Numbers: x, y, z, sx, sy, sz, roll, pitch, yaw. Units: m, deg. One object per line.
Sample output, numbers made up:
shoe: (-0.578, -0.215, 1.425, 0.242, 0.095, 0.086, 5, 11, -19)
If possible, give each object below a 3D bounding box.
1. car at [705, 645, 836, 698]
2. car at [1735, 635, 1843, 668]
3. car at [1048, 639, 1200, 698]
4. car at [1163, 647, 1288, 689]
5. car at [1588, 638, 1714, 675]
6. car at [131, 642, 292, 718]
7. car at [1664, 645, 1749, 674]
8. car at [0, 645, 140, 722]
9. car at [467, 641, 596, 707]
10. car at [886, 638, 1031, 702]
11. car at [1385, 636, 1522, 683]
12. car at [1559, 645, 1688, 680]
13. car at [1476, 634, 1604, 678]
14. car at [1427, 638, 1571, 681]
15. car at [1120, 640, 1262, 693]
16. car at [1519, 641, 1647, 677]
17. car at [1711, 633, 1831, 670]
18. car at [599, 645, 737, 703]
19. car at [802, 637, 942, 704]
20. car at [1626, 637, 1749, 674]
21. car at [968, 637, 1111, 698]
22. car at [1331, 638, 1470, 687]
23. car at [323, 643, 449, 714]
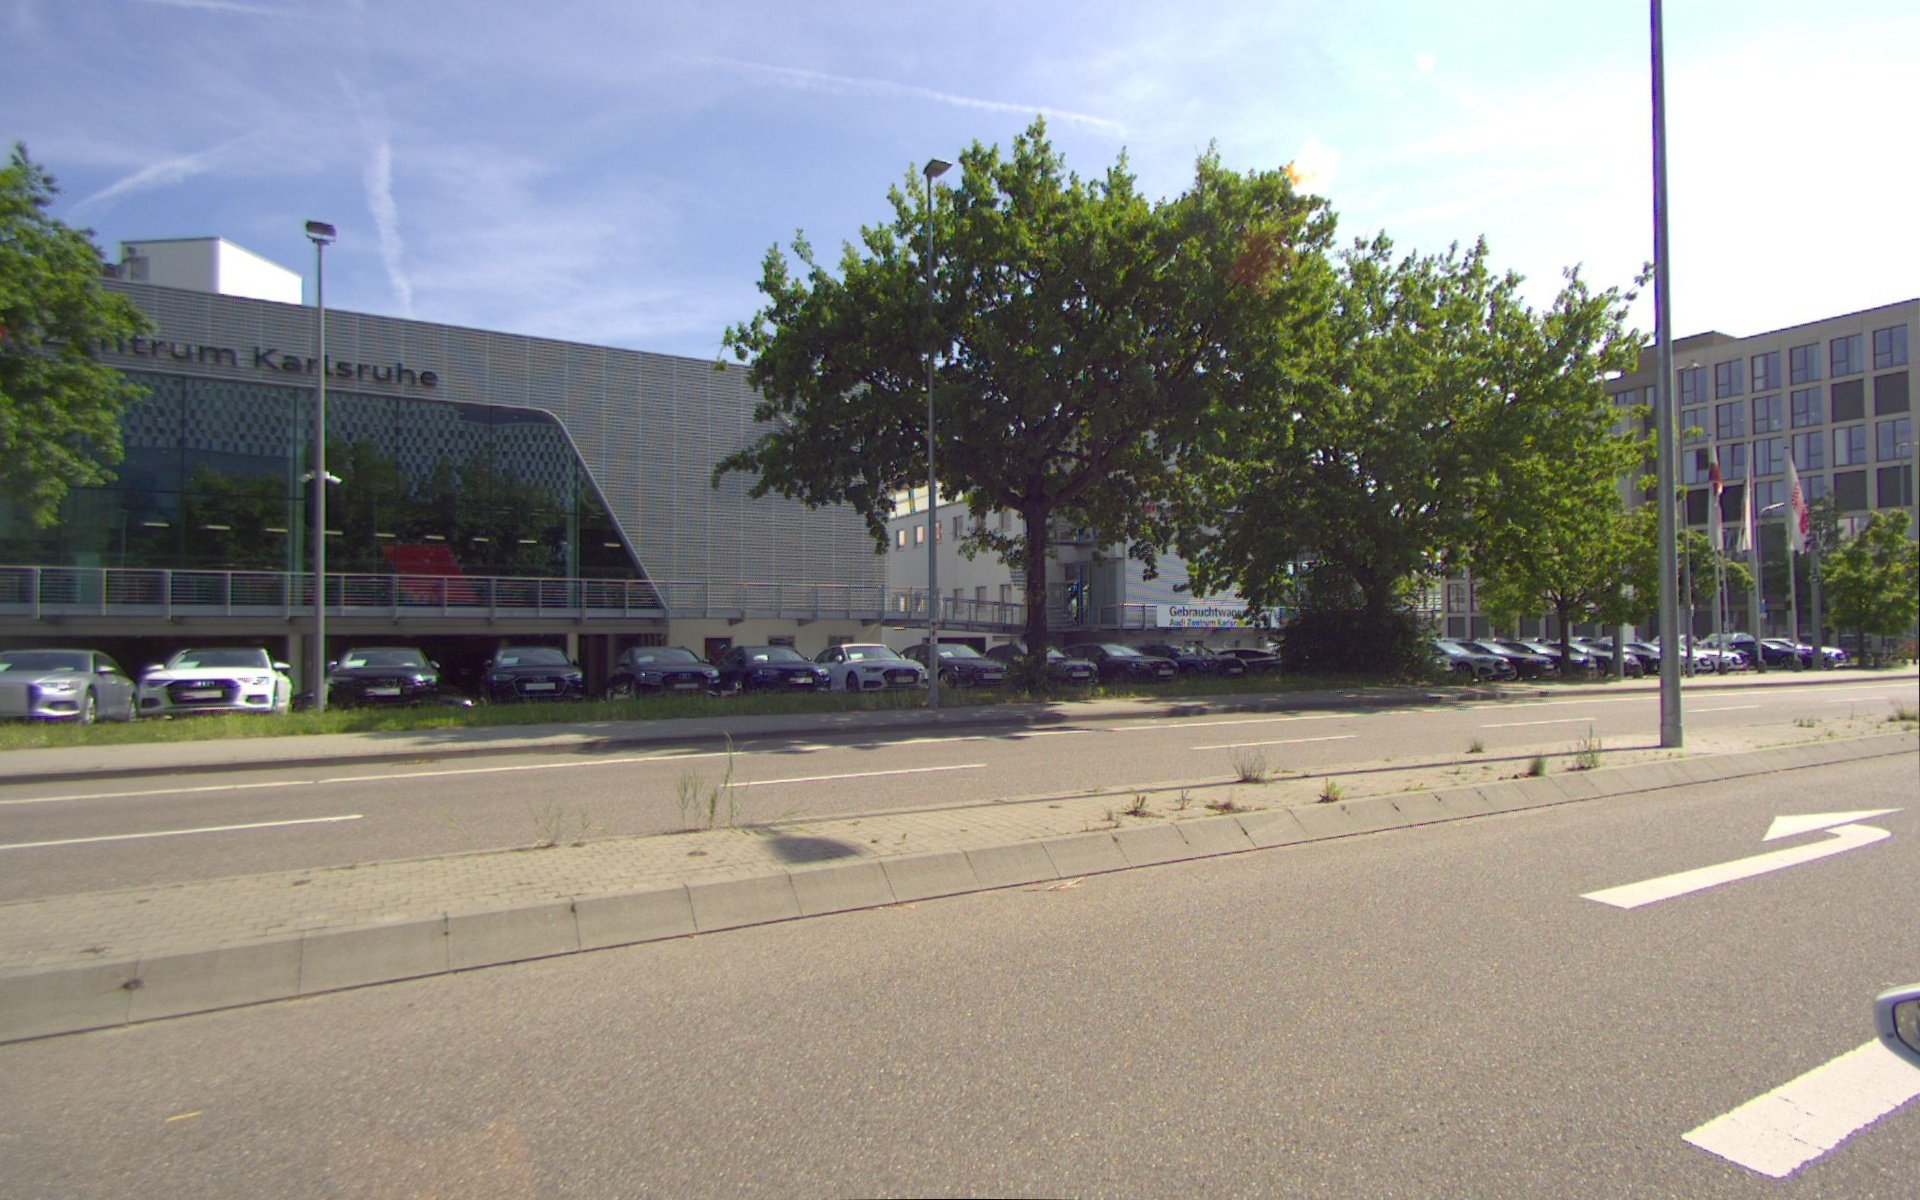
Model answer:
car: (-4.484, 1.694, 23.252, 1.678, 1.047, 4.089, 1, -6, -31)
car: (39.479, 2.467, 47.916, 1.620, 1.375, 3.581, 0, -5, -28)
car: (4.583, 1.998, 28.737, 2.027, 1.460, 4.288, 1, -6, -29)
car: (9.275, 2.388, 35.185, 3.930, 1.272, 1.588, -5, -5, 29)
car: (28.630, 2.378, 41.717, 1.824, 1.350, 3.864, 0, -5, -26)
car: (-13.544, 1.502, 18.419, 1.933, 1.205, 4.155, 1, -6, -31)
car: (34.045, 2.719, 45.807, 3.387, 1.189, 1.850, 0, -5, -29)
car: (-15.766, 1.475, 17.194, 2.063, 1.171, 4.155, 1, -6, -31)
car: (-8.993, 1.579, 20.890, 1.933, 1.205, 4.155, 1, -6, -31)
car: (-0.133, 1.866, 26.056, 1.975, 1.460, 4.233, 1, -6, -28)
car: (16.954, 2.083, 34.725, 1.886, 1.437, 3.864, 0, -5, -26)
car: (26.541, 2.528, 40.311, 1.886, 1.181, 3.864, 0, -5, -26)
car: (21.676, 2.116, 37.715, 1.637, 1.437, 3.864, 0, -5, -26)
car: (19.445, 2.200, 36.438, 2.010, 1.348, 4.156, 0, -5, -26)
car: (6.785, 2.002, 29.893, 1.975, 1.376, 3.973, 1, -6, -28)
car: (24.127, 2.312, 39.031, 1.771, 1.167, 3.864, 0, -5, -26)
car: (37.707, 2.417, 46.805, 1.844, 1.483, 3.862, 0, -5, -27)
car: (-6.517, 1.662, 22.089, 1.933, 1.091, 4.155, 1, -6, -31)
car: (-2.246, 1.764, 24.536, 1.975, 1.460, 3.973, 1, -6, -28)
car: (30.963, 2.393, 42.870, 1.725, 1.382, 3.864, 0, -5, -26)
car: (2.082, 1.891, 27.515, 1.975, 1.460, 4.125, 1, -6, -28)
car: (14.713, 2.129, 33.795, 1.886, 1.437, 3.977, 0, -5, -26)
car: (-11.214, 1.563, 19.607, 1.933, 1.205, 4.155, 1, -6, -31)
